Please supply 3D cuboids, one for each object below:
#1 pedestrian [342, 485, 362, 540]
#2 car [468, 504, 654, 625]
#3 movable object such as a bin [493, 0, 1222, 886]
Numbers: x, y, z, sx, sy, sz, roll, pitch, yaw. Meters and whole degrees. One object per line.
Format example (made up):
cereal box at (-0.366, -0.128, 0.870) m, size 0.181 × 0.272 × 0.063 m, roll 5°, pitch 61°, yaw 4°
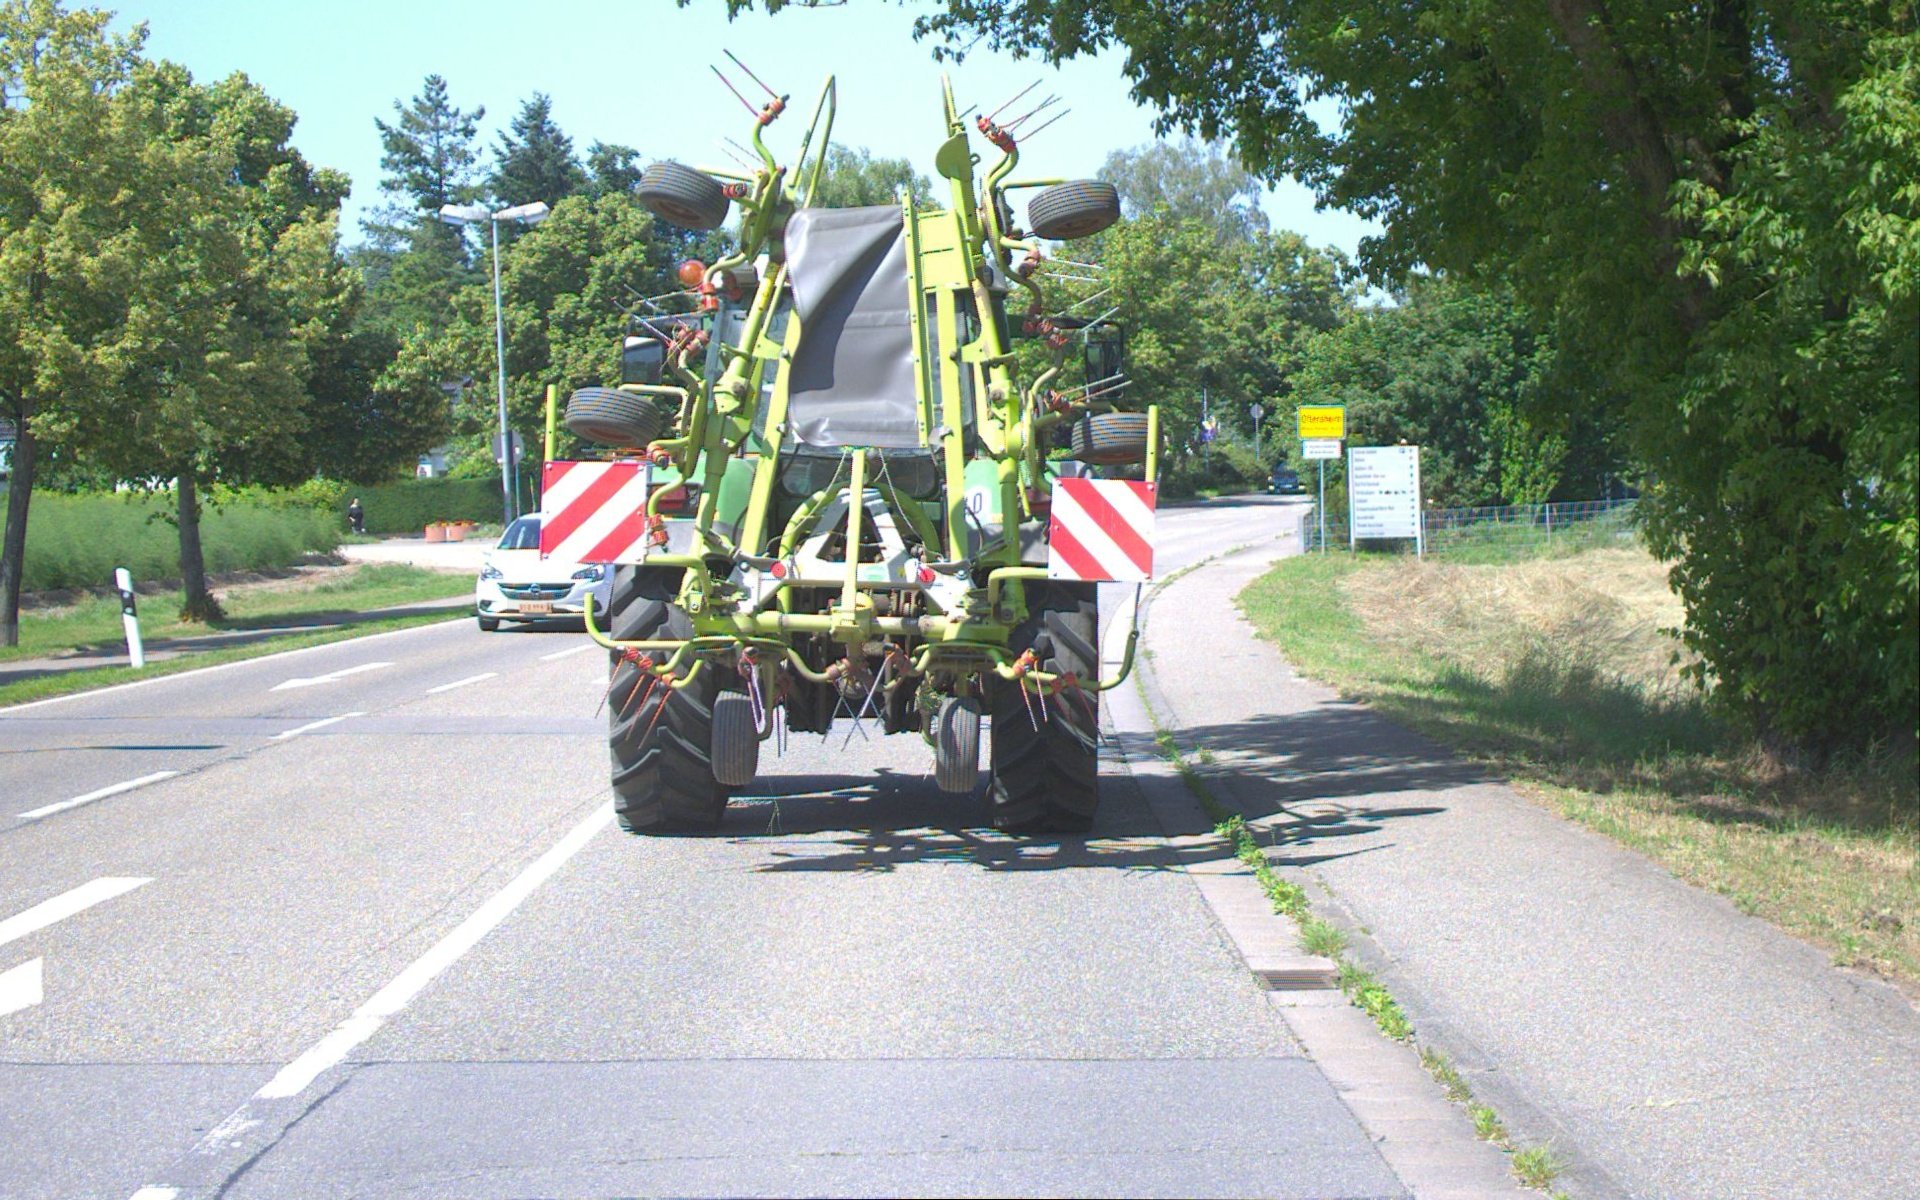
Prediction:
pedestrian at (-19.400, -2.785, 109.743) m, size 0.549 × 1.710 × 0.676 m, roll 1°, pitch 4°, yaw -2°
car at (-5.020, -0.488, 43.706) m, size 1.649 × 1.429 × 3.896 m, roll 1°, pitch 2°, yaw 4°
movable object such as a bin at (-0.537, -0.764, 18.348) m, size 2.852 × 3.529 × 9.702 m, roll 0°, pitch 1°, yaw -2°
